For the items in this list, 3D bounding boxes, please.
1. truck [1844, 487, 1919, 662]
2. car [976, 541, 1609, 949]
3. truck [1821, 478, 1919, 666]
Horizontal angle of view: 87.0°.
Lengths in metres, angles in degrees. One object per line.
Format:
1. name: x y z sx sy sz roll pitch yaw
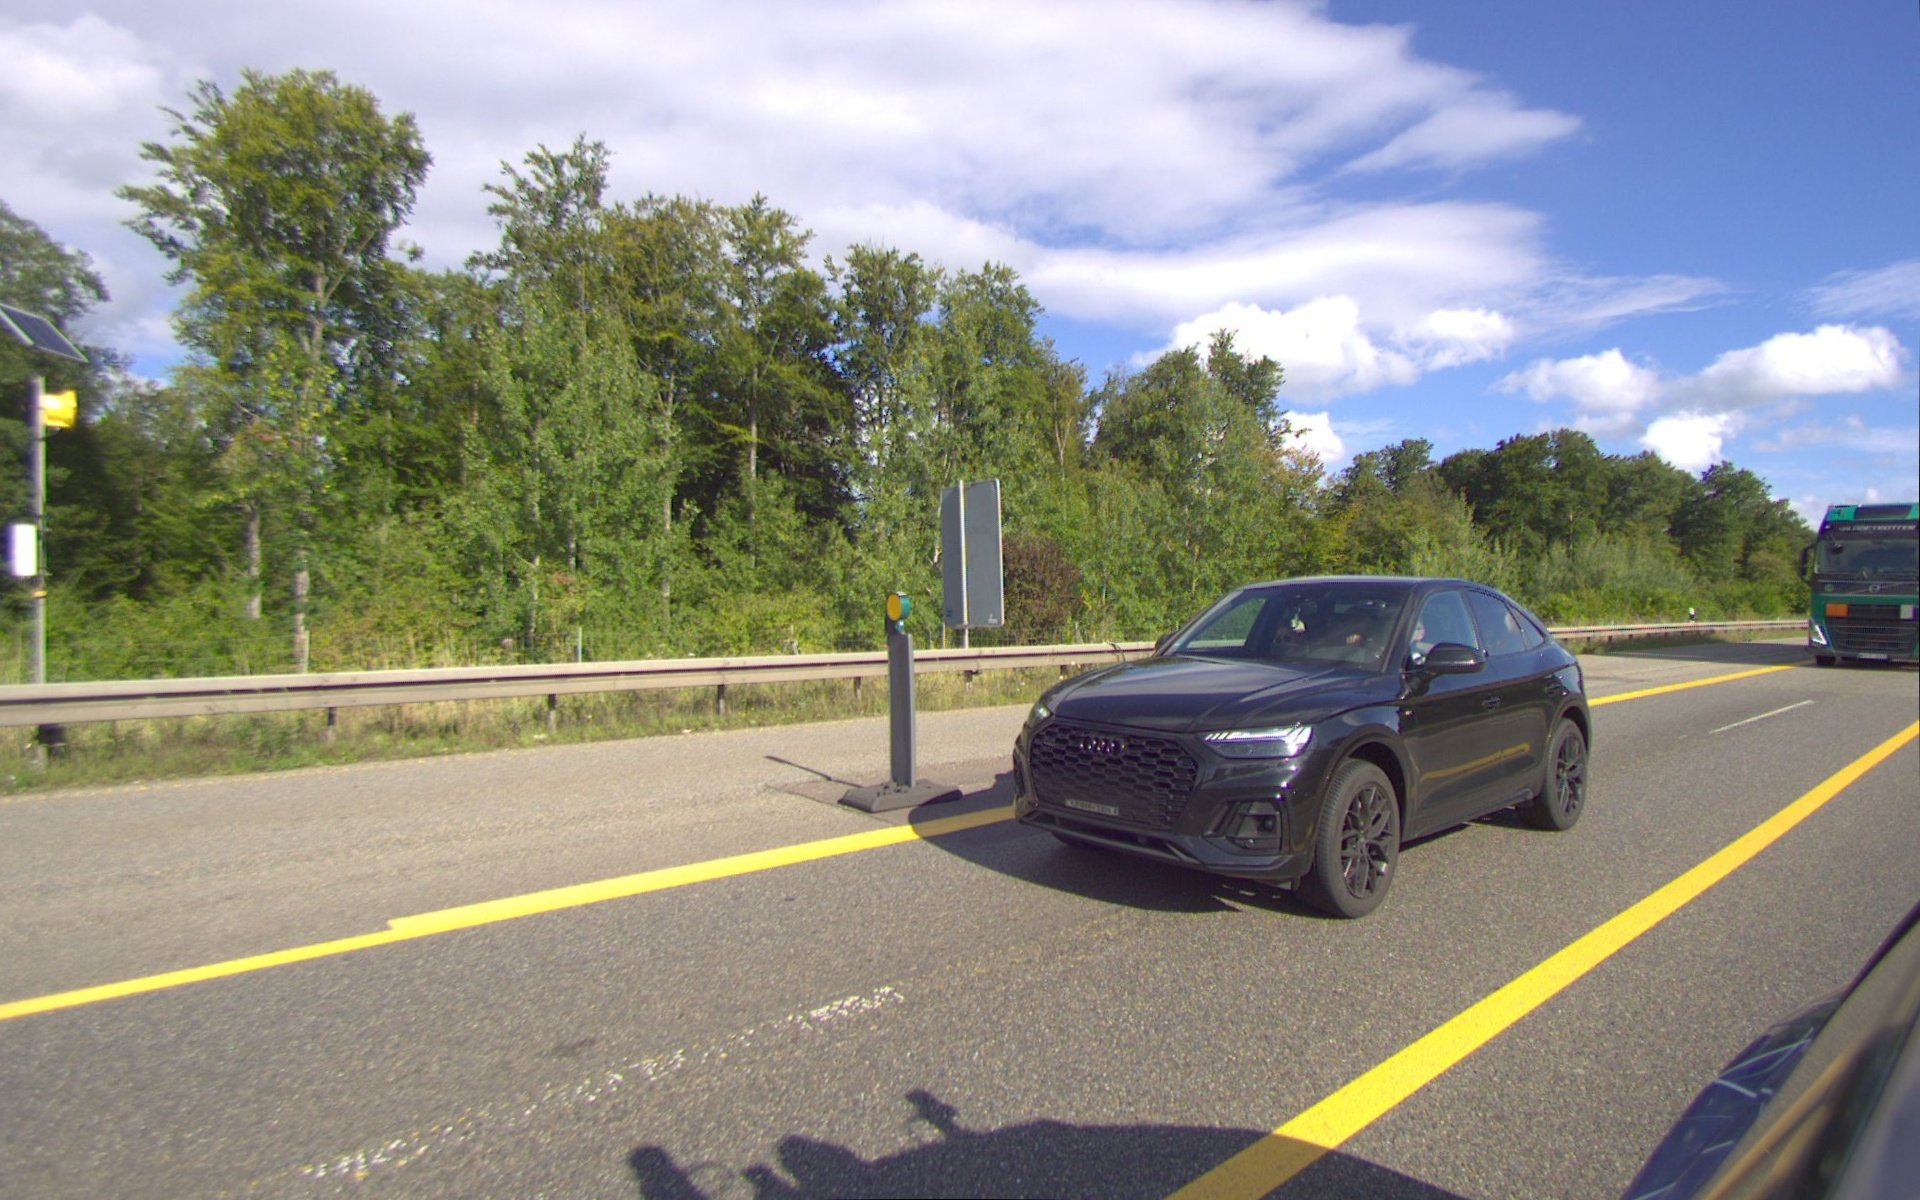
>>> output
1. truck: 28.242 -0.547 28.800 13.955 4.196 2.469 1 -1 -40
2. car: 2.238 0.564 6.116 4.220 1.623 1.780 0 0 -42
3. truck: 23.459 -0.638 24.754 6.734 4.151 2.527 0 0 -40
